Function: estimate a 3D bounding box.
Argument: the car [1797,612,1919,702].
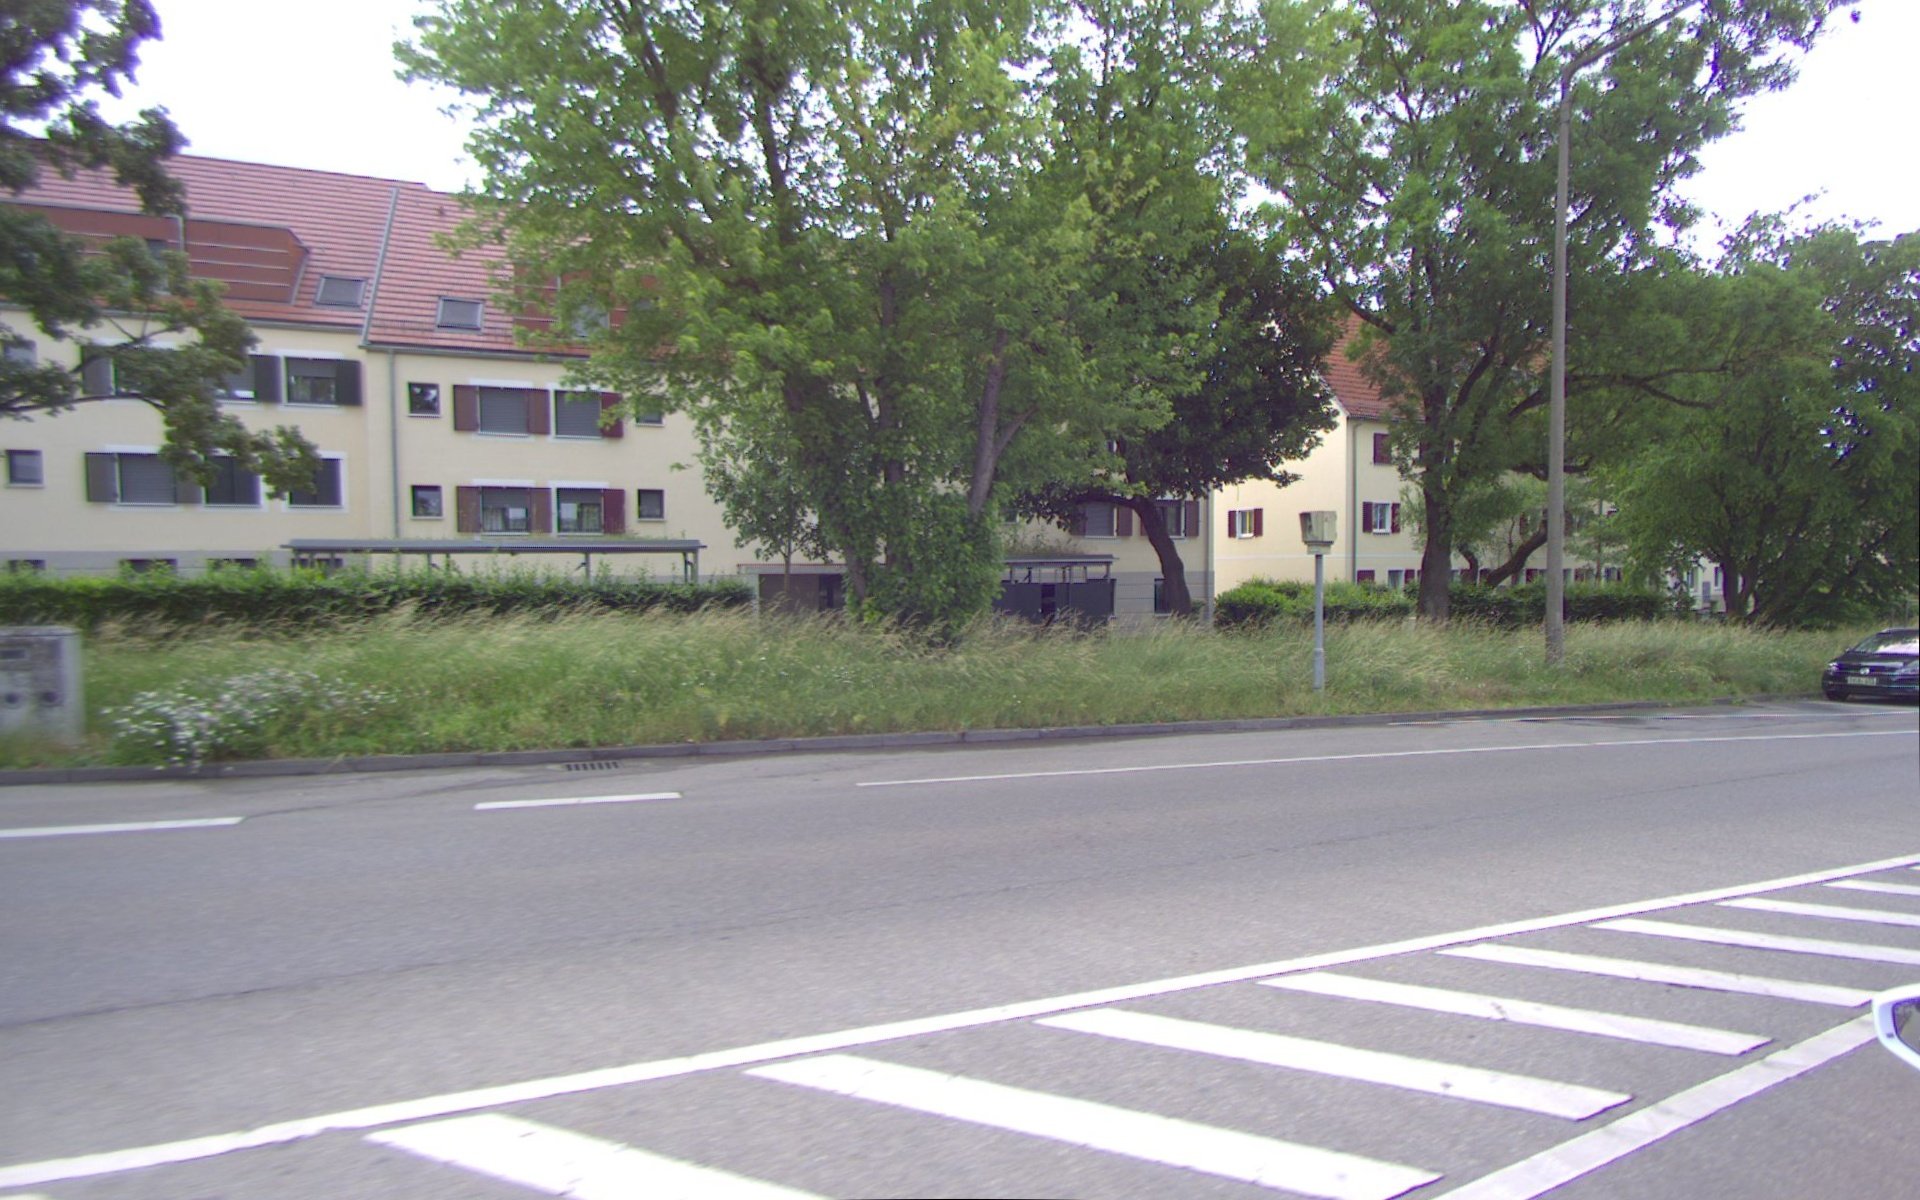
[{"bbox_3d":[19.157,1.112,20.294,4.593,1.591,1.867,2,0,-28],"label":"car"}]

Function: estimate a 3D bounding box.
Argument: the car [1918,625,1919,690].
[{"bbox_3d":[23.720,1.333,22.784,4.099,1.467,1.760,1,0,-29],"label":"car"}]
